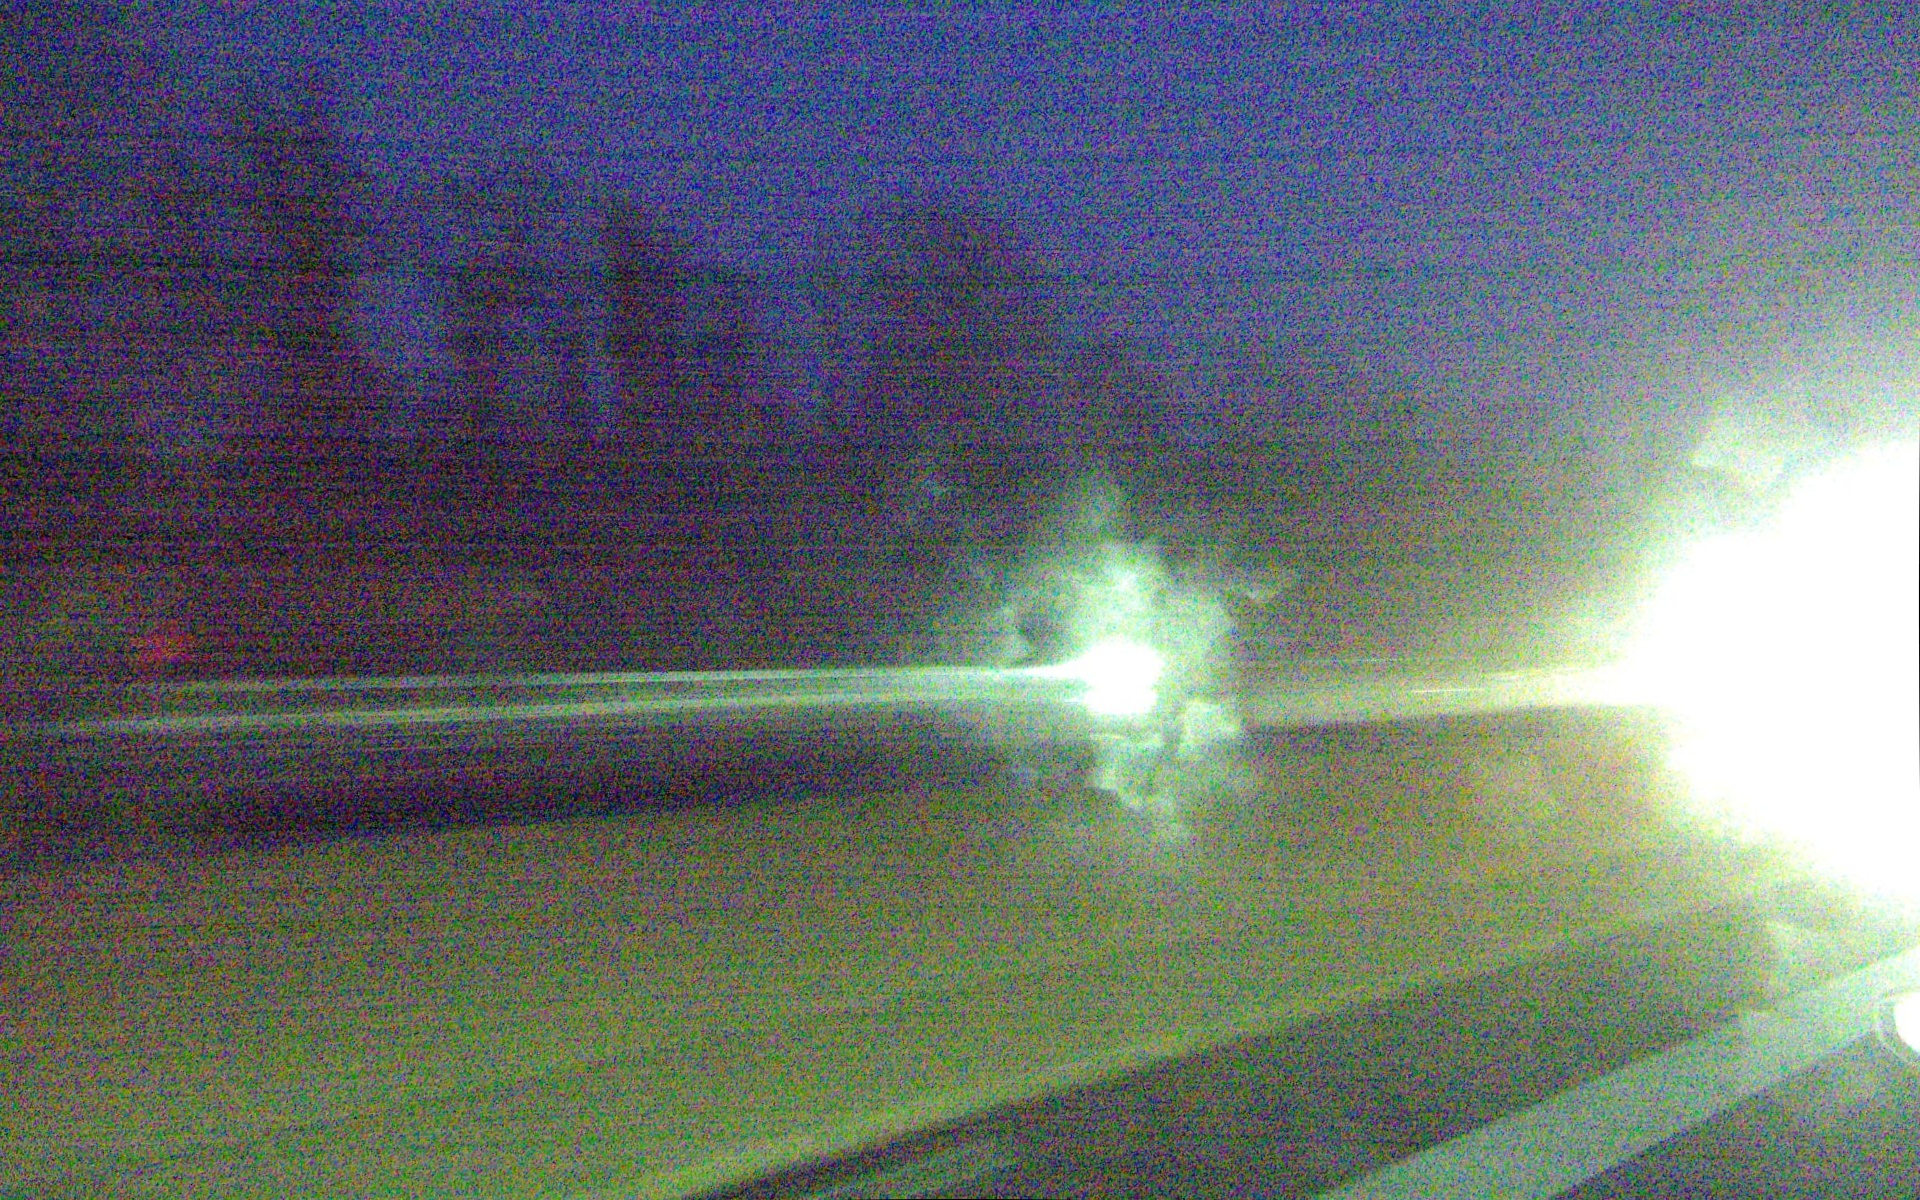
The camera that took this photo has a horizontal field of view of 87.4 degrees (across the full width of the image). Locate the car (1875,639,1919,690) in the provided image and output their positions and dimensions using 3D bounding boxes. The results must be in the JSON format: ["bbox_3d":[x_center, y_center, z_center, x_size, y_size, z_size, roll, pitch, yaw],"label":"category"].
[{"bbox_3d":[33.330,2.214,34.294,4.461,1.602,1.852,2,0,-30],"label":"car"}]

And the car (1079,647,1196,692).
[{"bbox_3d":[6.743,2.588,38.030,4.309,1.491,1.851,2,0,-34],"label":"car"}]
